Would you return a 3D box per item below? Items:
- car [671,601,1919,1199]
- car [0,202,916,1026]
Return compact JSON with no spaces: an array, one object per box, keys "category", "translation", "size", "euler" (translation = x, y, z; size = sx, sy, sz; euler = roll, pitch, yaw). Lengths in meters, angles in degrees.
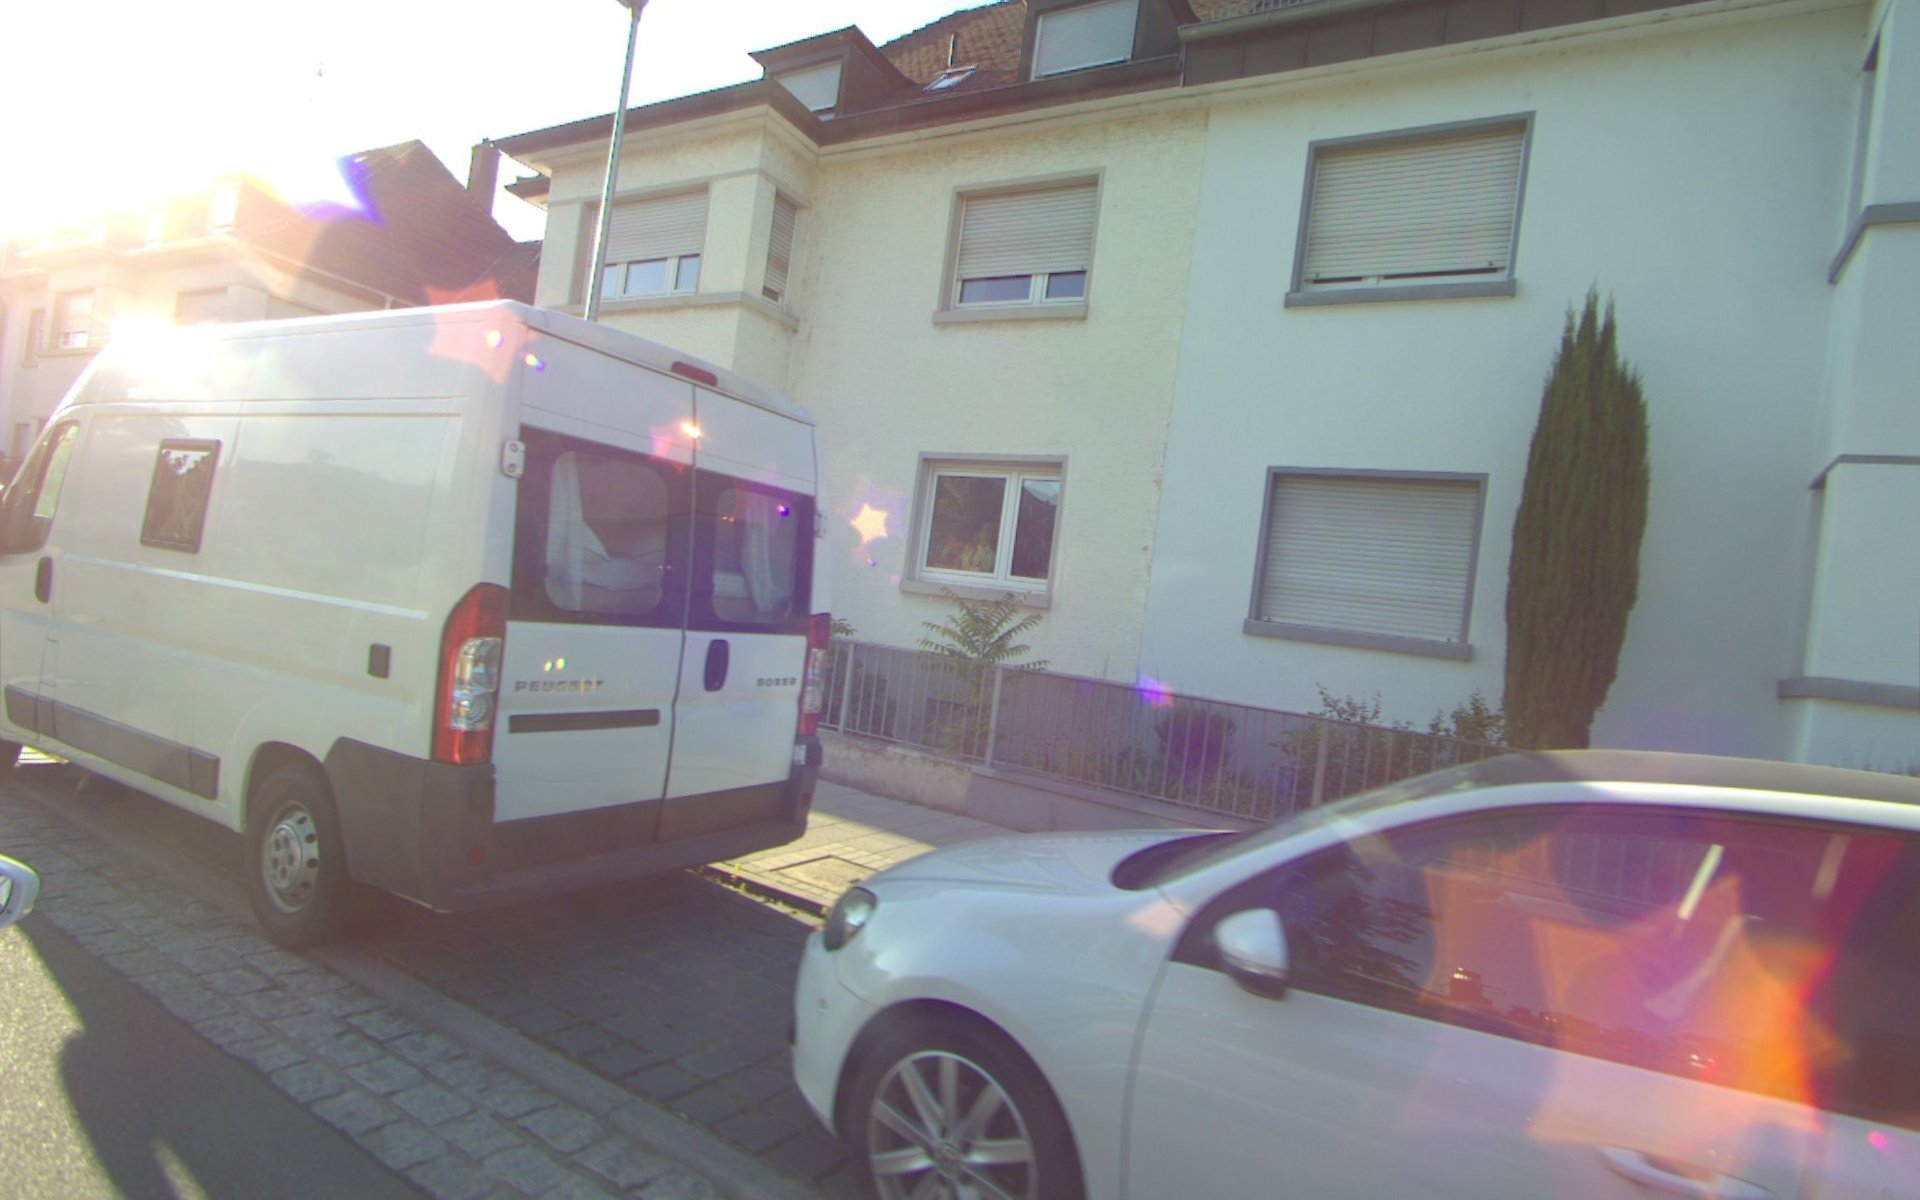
[{"category":"car","translation":[1.412,1.021,2.345],"size":[4.041,1.500,1.624],"euler":[7,-1,33]},{"category":"car","translation":[-3.227,-0.128,5.386],"size":[5.416,2.546,2.135],"euler":[7,-2,31]}]
